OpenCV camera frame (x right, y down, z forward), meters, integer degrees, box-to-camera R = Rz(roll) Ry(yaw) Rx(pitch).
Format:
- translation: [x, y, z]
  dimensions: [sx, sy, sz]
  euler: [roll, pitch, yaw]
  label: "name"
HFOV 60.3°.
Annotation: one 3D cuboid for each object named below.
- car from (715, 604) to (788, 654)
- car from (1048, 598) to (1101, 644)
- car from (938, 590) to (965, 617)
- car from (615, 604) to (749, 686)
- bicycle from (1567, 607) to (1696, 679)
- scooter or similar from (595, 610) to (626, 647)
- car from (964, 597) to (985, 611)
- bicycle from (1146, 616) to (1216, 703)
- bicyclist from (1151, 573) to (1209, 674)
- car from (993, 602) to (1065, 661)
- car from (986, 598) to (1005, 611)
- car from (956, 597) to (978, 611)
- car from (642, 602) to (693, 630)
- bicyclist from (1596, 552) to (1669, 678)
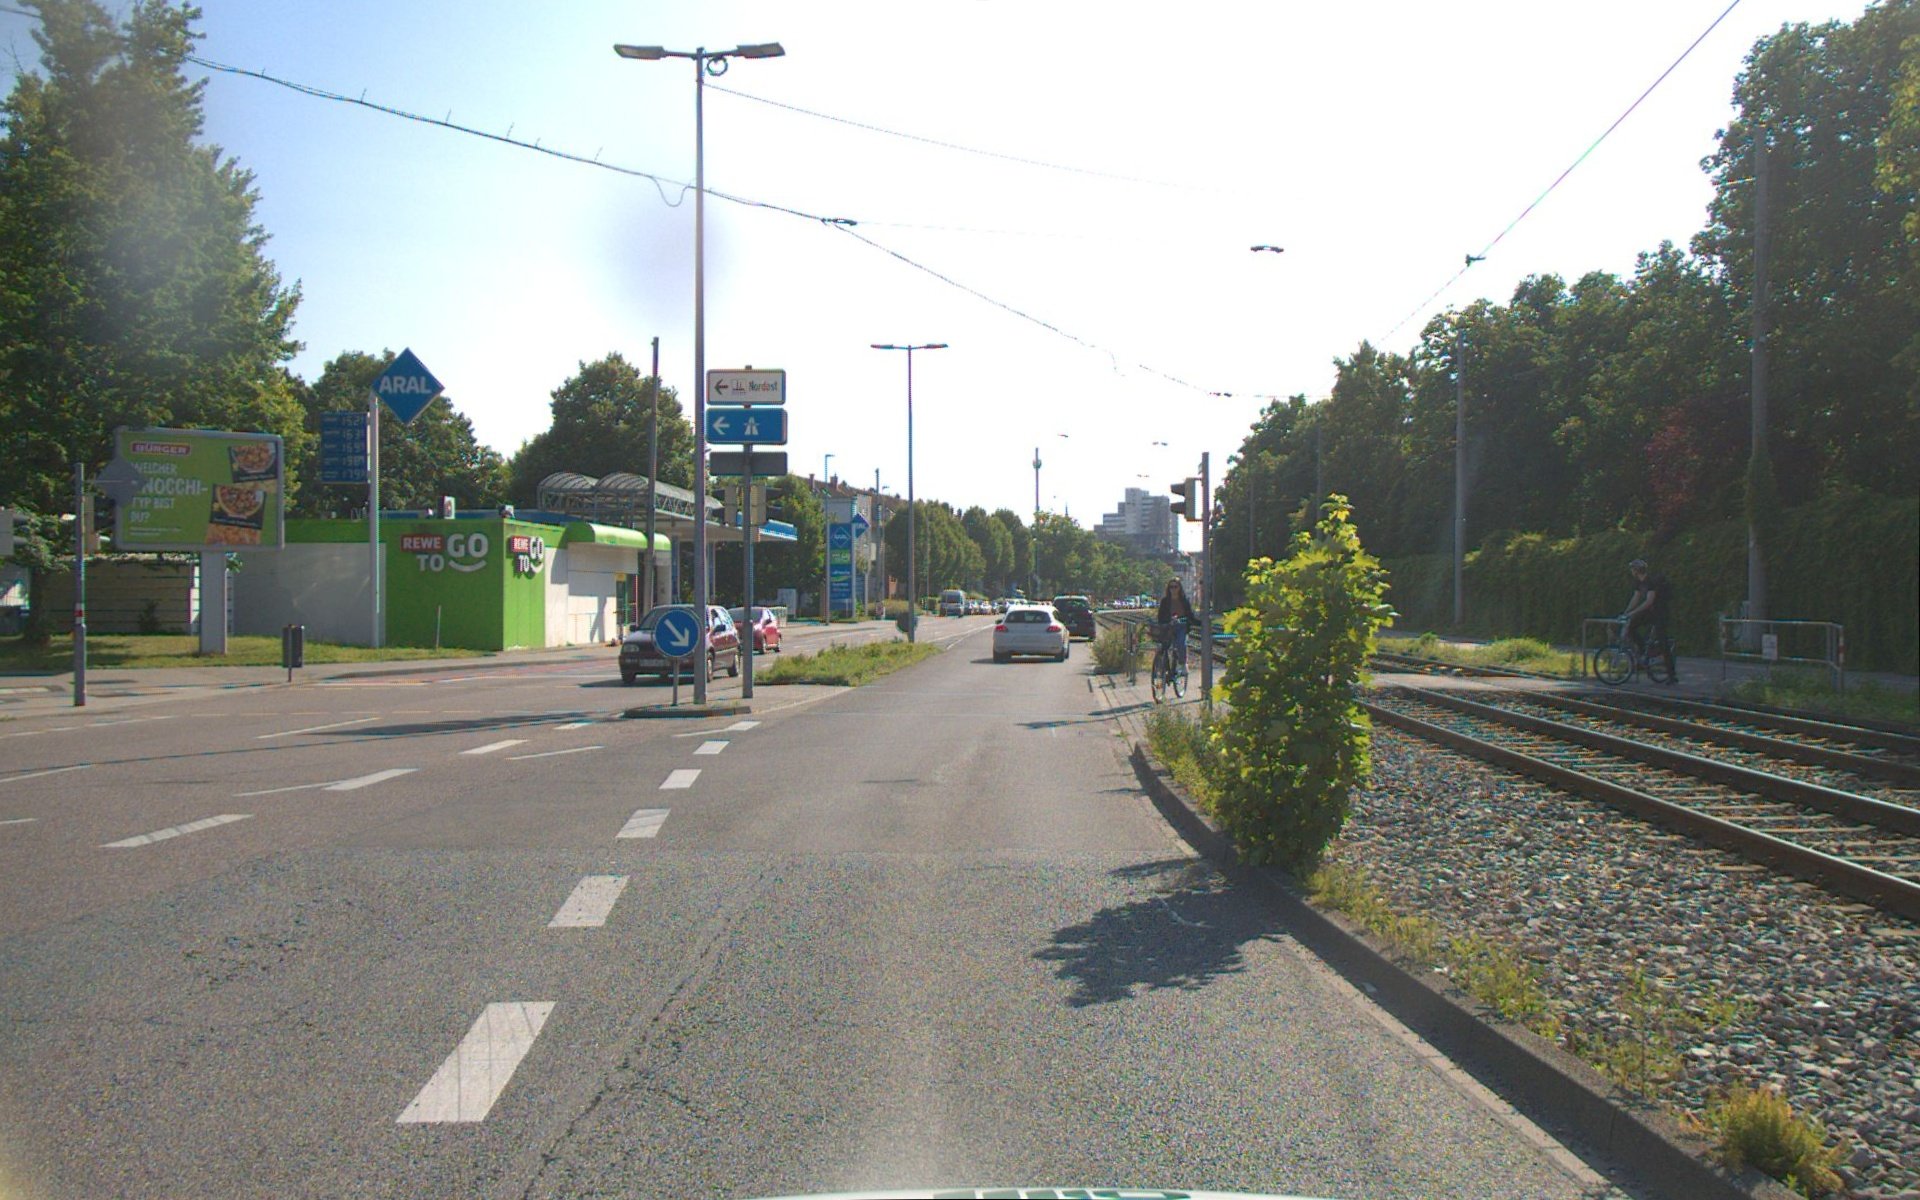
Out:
- translation: [-6.329, 0.849, 50.432]
  dimensions: [1.541, 1.441, 3.335]
  euler: [-1, 0, 4]
  label: "car"
- translation: [4.226, 0.770, 61.620]
  dimensions: [1.689, 1.620, 3.601]
  euler: [1, 0, 0]
  label: "car"
- translation: [-0.801, 0.331, 154.225]
  dimensions: [1.951, 2.418, 4.542]
  euler: [-1, 0, 7]
  label: "car"
- translation: [-5.220, 0.812, 31.534]
  dimensions: [1.618, 1.420, 4.136]
  euler: [-1, 0, 3]
  label: "car"
- translation: [11.089, 0.697, 27.311]
  dimensions: [1.884, 1.134, 0.946]
  euler: [-1, 0, 28]
  label: "bicycle"
- translation: [-11.816, 0.965, 55.943]
  dimensions: [0.521, 1.194, 1.311]
  euler: [4, 1, 7]
  label: "scooter or similar"
- translation: [1.600, 0.422, 181.234]
  dimensions: [1.951, 1.441, 3.846]
  euler: [-1, 0, 6]
  label: "car"
- translation: [3.248, 0.846, 24.192]
  dimensions: [0.630, 1.174, 1.937]
  euler: [-1, 0, 19]
  label: "bicycle"
- translation: [3.214, 0.332, 24.121]
  dimensions: [0.630, 1.440, 1.013]
  euler: [-1, 0, 19]
  label: "bicyclist"
- translation: [1.793, 0.774, 42.040]
  dimensions: [1.743, 1.380, 3.603]
  euler: [1, 0, 4]
  label: "car"
- translation: [4.349, 0.535, 203.513]
  dimensions: [1.951, 1.441, 3.846]
  euler: [-1, 0, 6]
  label: "car"
- translation: [0.759, 0.399, 175.367]
  dimensions: [1.951, 1.441, 3.846]
  euler: [-1, 0, 6]
  label: "car"
- translation: [-15.206, 0.814, 86.070]
  dimensions: [1.707, 1.418, 4.122]
  euler: [-1, 0, 3]
  label: "car"
- translation: [11.103, 0.245, 27.301]
  dimensions: [1.013, 2.028, 0.946]
  euler: [-1, 0, 28]
  label: "bicyclist"
